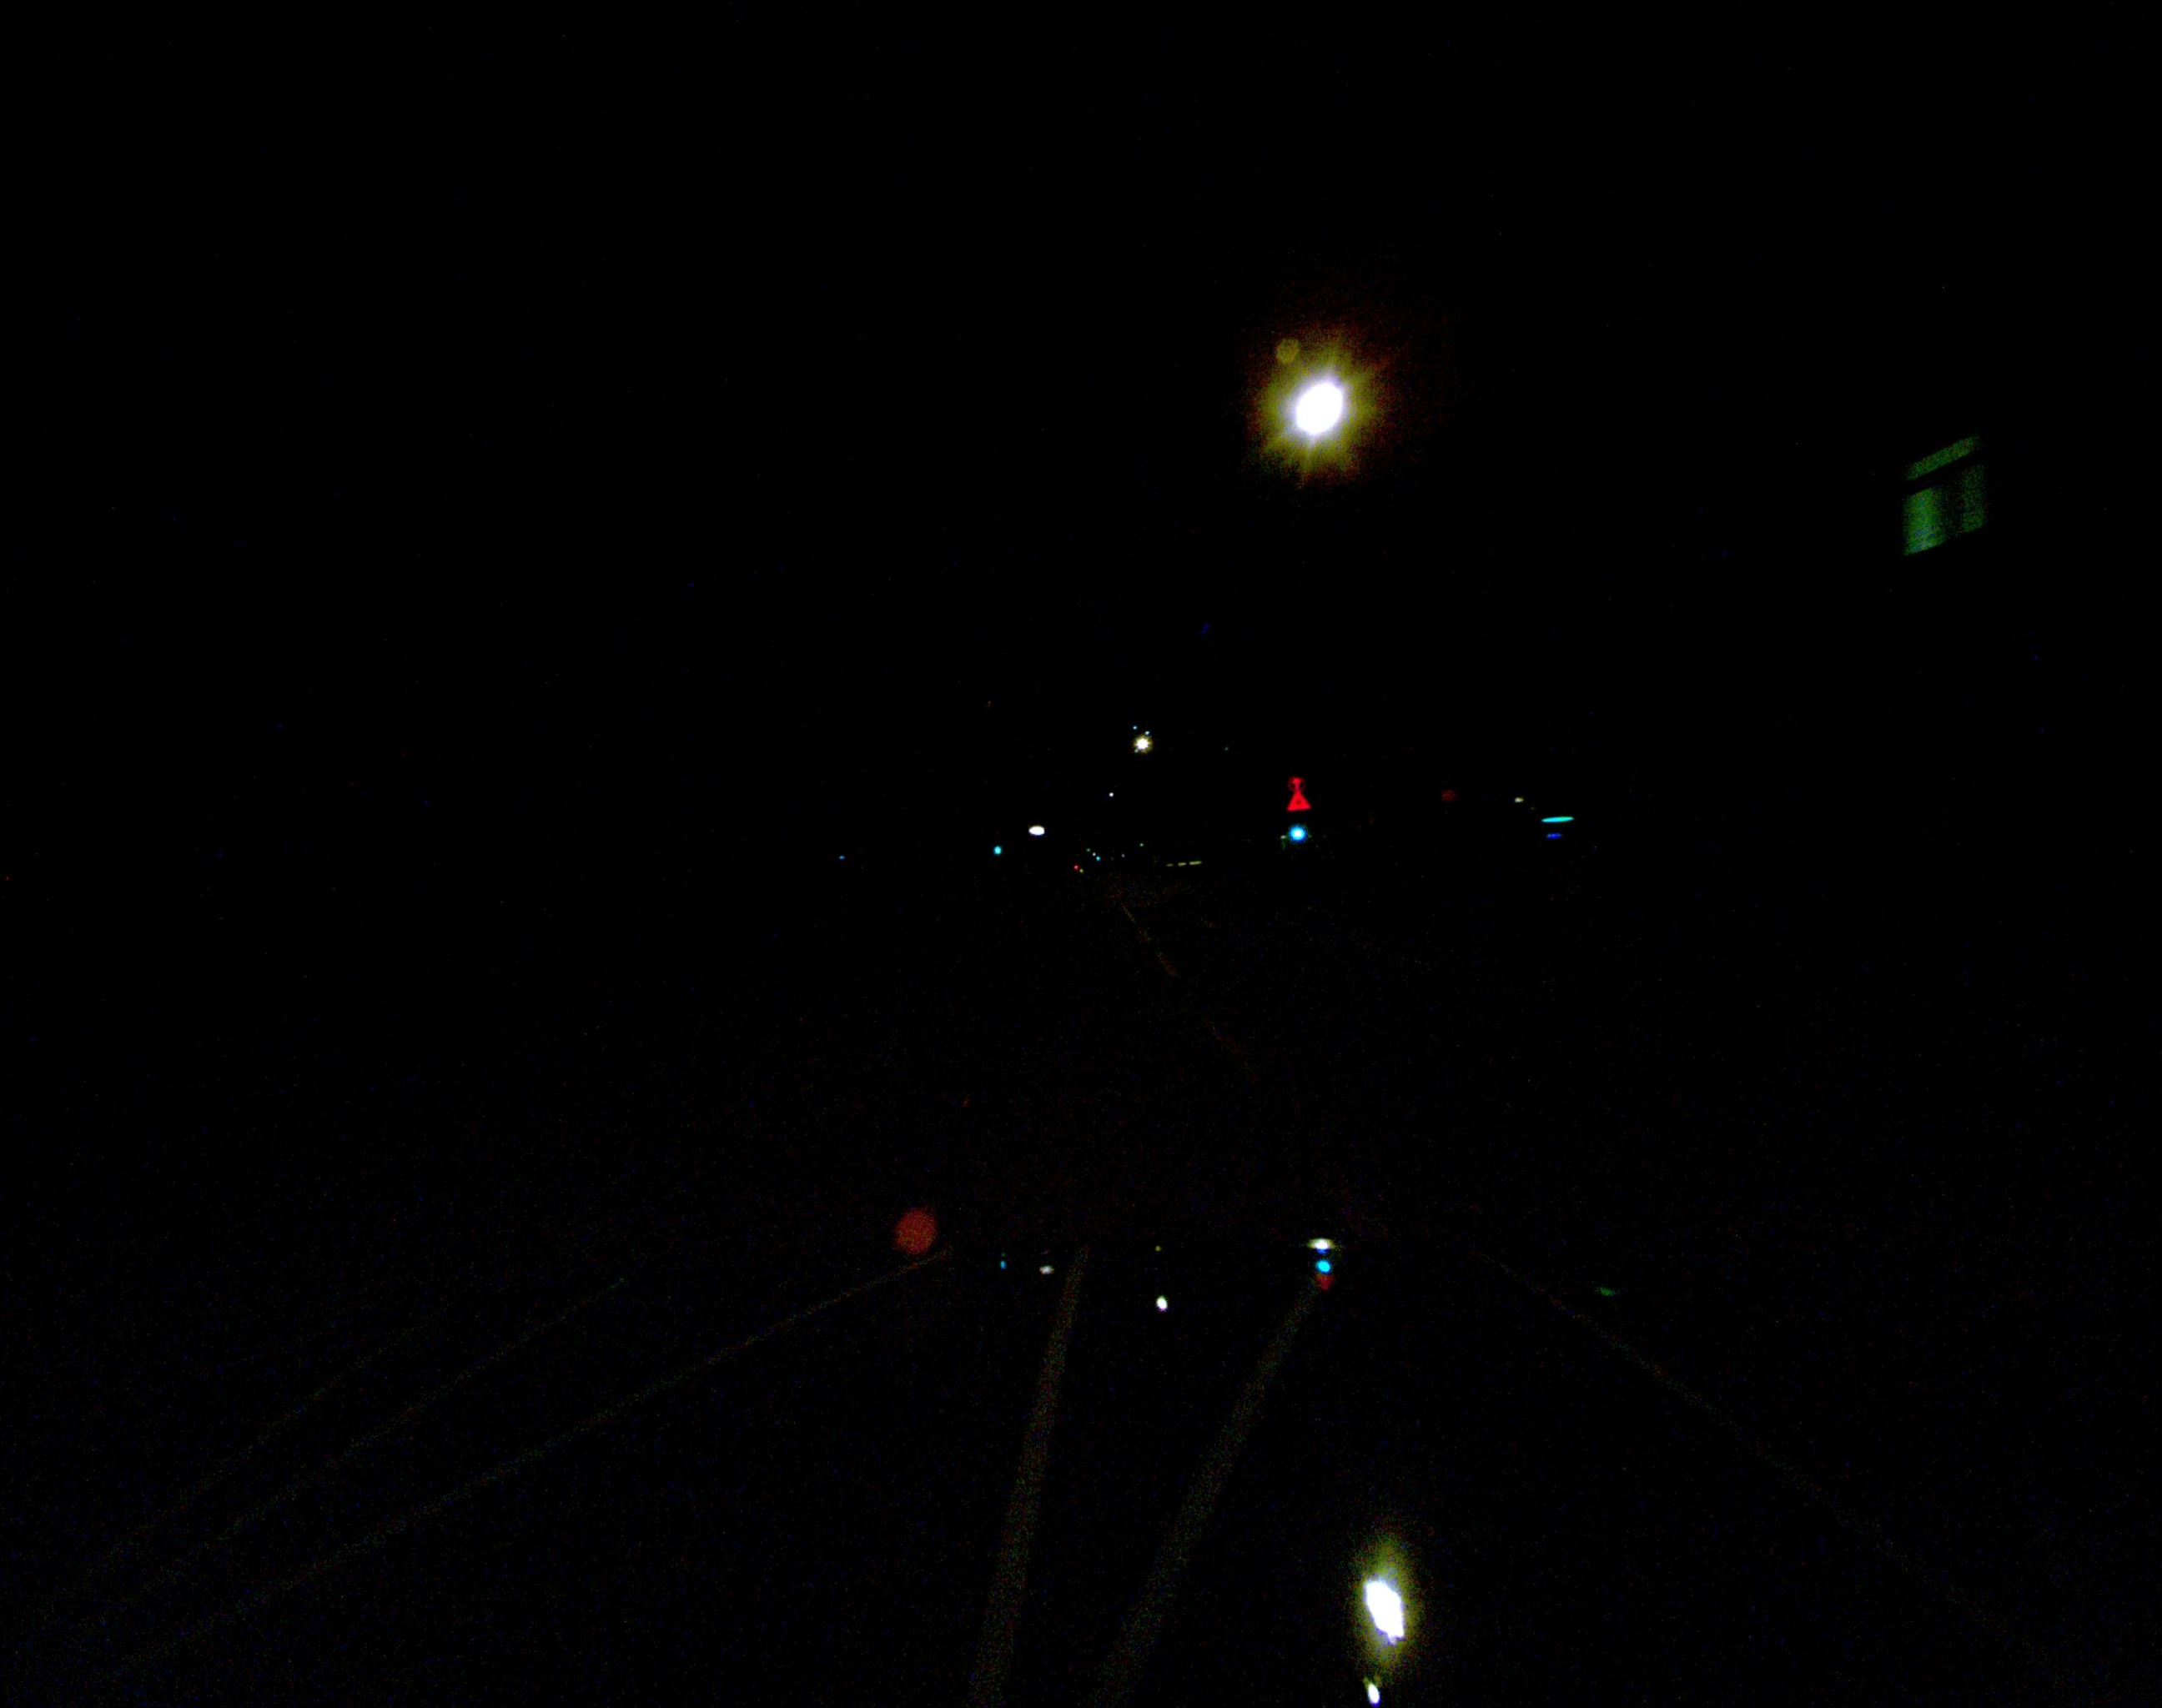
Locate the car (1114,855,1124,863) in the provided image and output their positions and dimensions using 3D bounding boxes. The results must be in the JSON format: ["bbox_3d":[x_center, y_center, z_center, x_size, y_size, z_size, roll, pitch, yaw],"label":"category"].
[{"bbox_3d":[7.505,0.980,150.523,1.826,1.637,3.731,-2,0,1],"label":"car"}]

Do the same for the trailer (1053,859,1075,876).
[{"bbox_3d":[-1.598,1.294,73.094,1.604,1.486,3.734,-4,0,4],"label":"trailer"}]

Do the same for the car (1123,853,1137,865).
[{"bbox_3d":[7.832,0.772,122.524,1.882,1.798,3.731,-6,0,1],"label":"car"}]

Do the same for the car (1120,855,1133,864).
[{"bbox_3d":[7.663,0.954,128.467,1.826,1.423,3.731,-6,0,1],"label":"car"}]

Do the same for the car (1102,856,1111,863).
[{"bbox_3d":[6.217,1.259,183.787,1.826,1.423,3.731,-6,0,-2],"label":"car"}]

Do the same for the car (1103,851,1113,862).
[{"bbox_3d":[7.043,0.666,195.492,2.005,2.493,4.953,-6,0,-2],"label":"car"}]

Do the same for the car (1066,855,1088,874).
[{"bbox_3d":[-0.280,0.883,63.747,1.590,1.452,3.797,-4,0,2],"label":"car"}]
